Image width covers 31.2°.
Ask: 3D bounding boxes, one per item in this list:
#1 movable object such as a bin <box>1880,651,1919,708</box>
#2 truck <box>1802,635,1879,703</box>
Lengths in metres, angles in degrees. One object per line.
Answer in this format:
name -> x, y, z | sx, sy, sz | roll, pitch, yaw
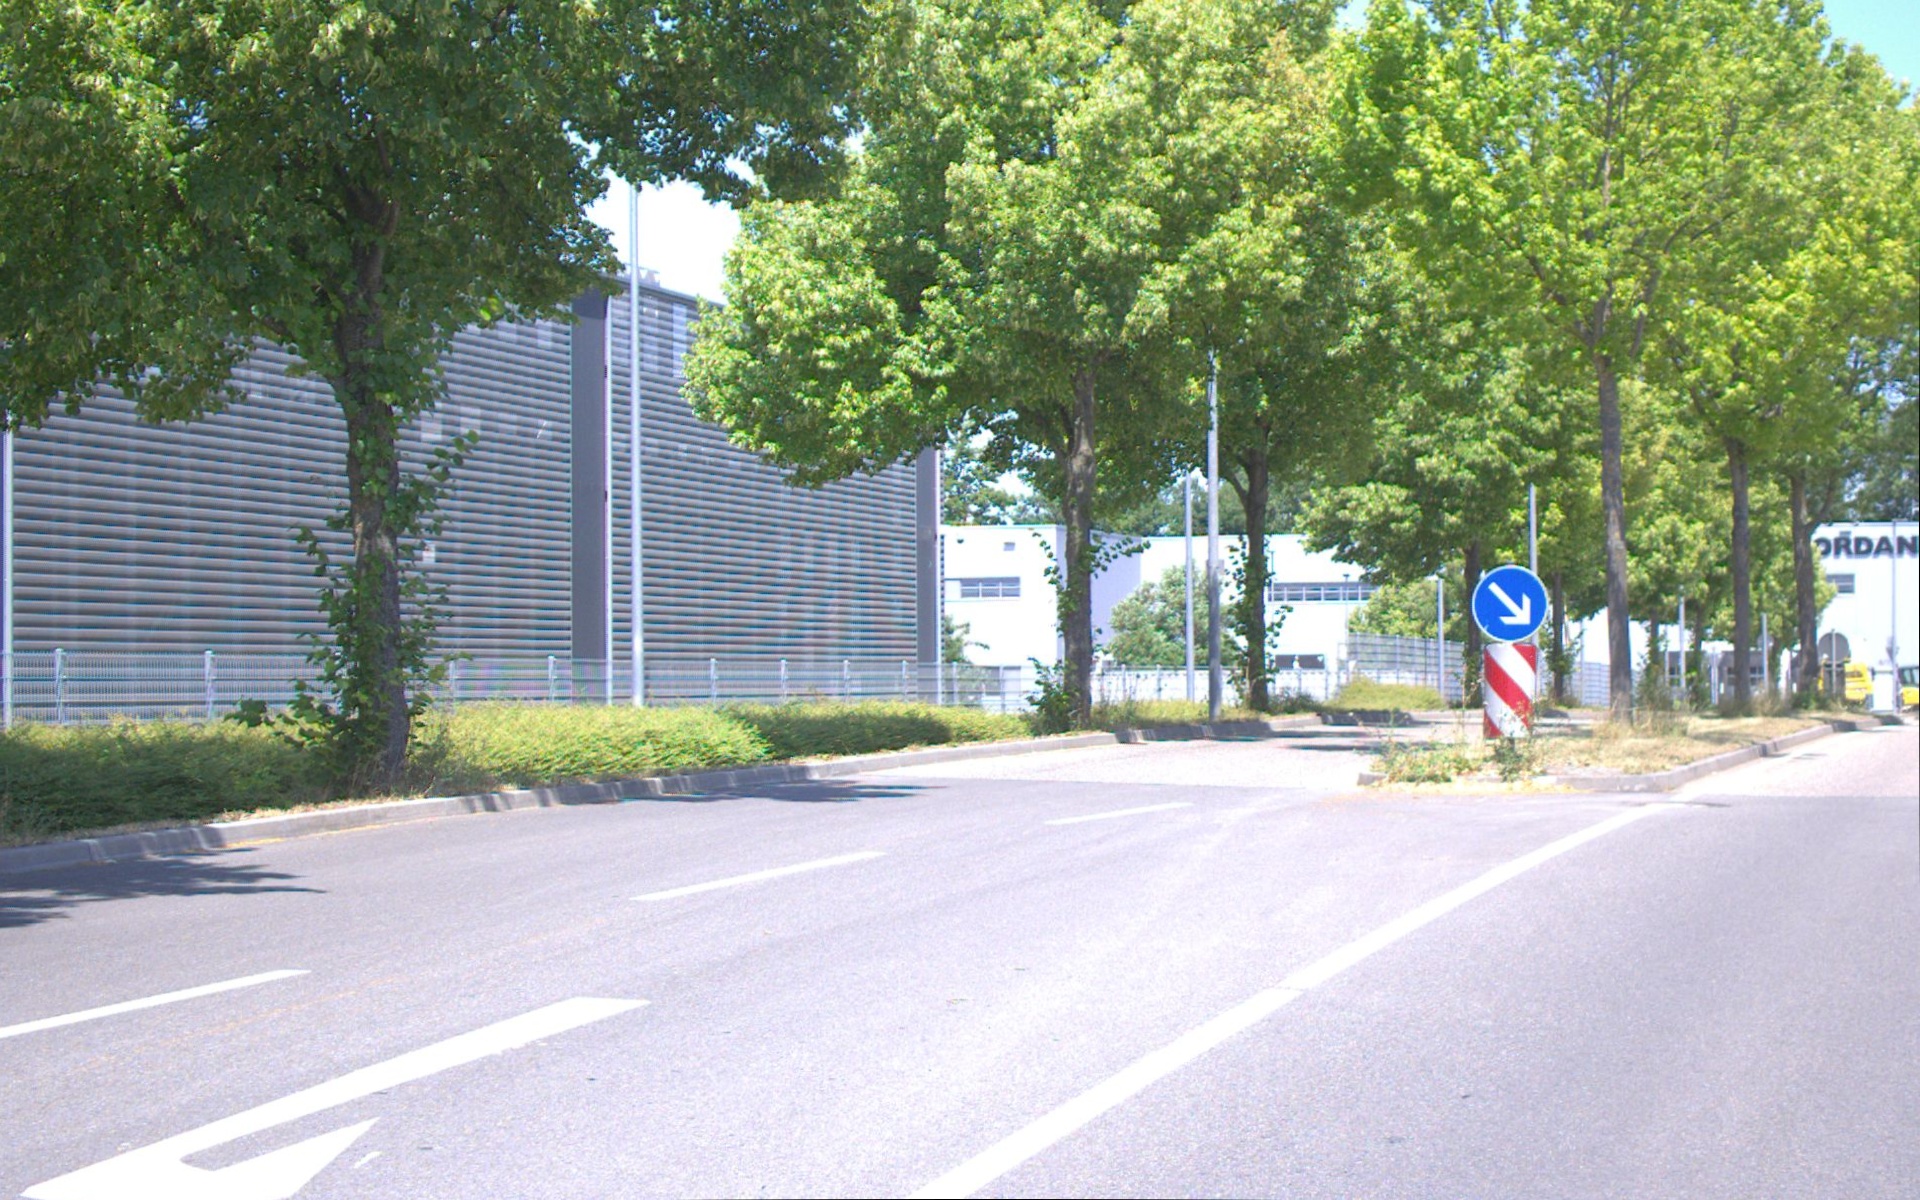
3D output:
movable object such as a bin -> 47.739, 3.690, 162.608 | 7.536, 2.491, 3.661 | -2, 1, 26
truck -> 42.009, 3.282, 164.097 | 2.939, 2.876, 5.807 | -3, 1, 9
